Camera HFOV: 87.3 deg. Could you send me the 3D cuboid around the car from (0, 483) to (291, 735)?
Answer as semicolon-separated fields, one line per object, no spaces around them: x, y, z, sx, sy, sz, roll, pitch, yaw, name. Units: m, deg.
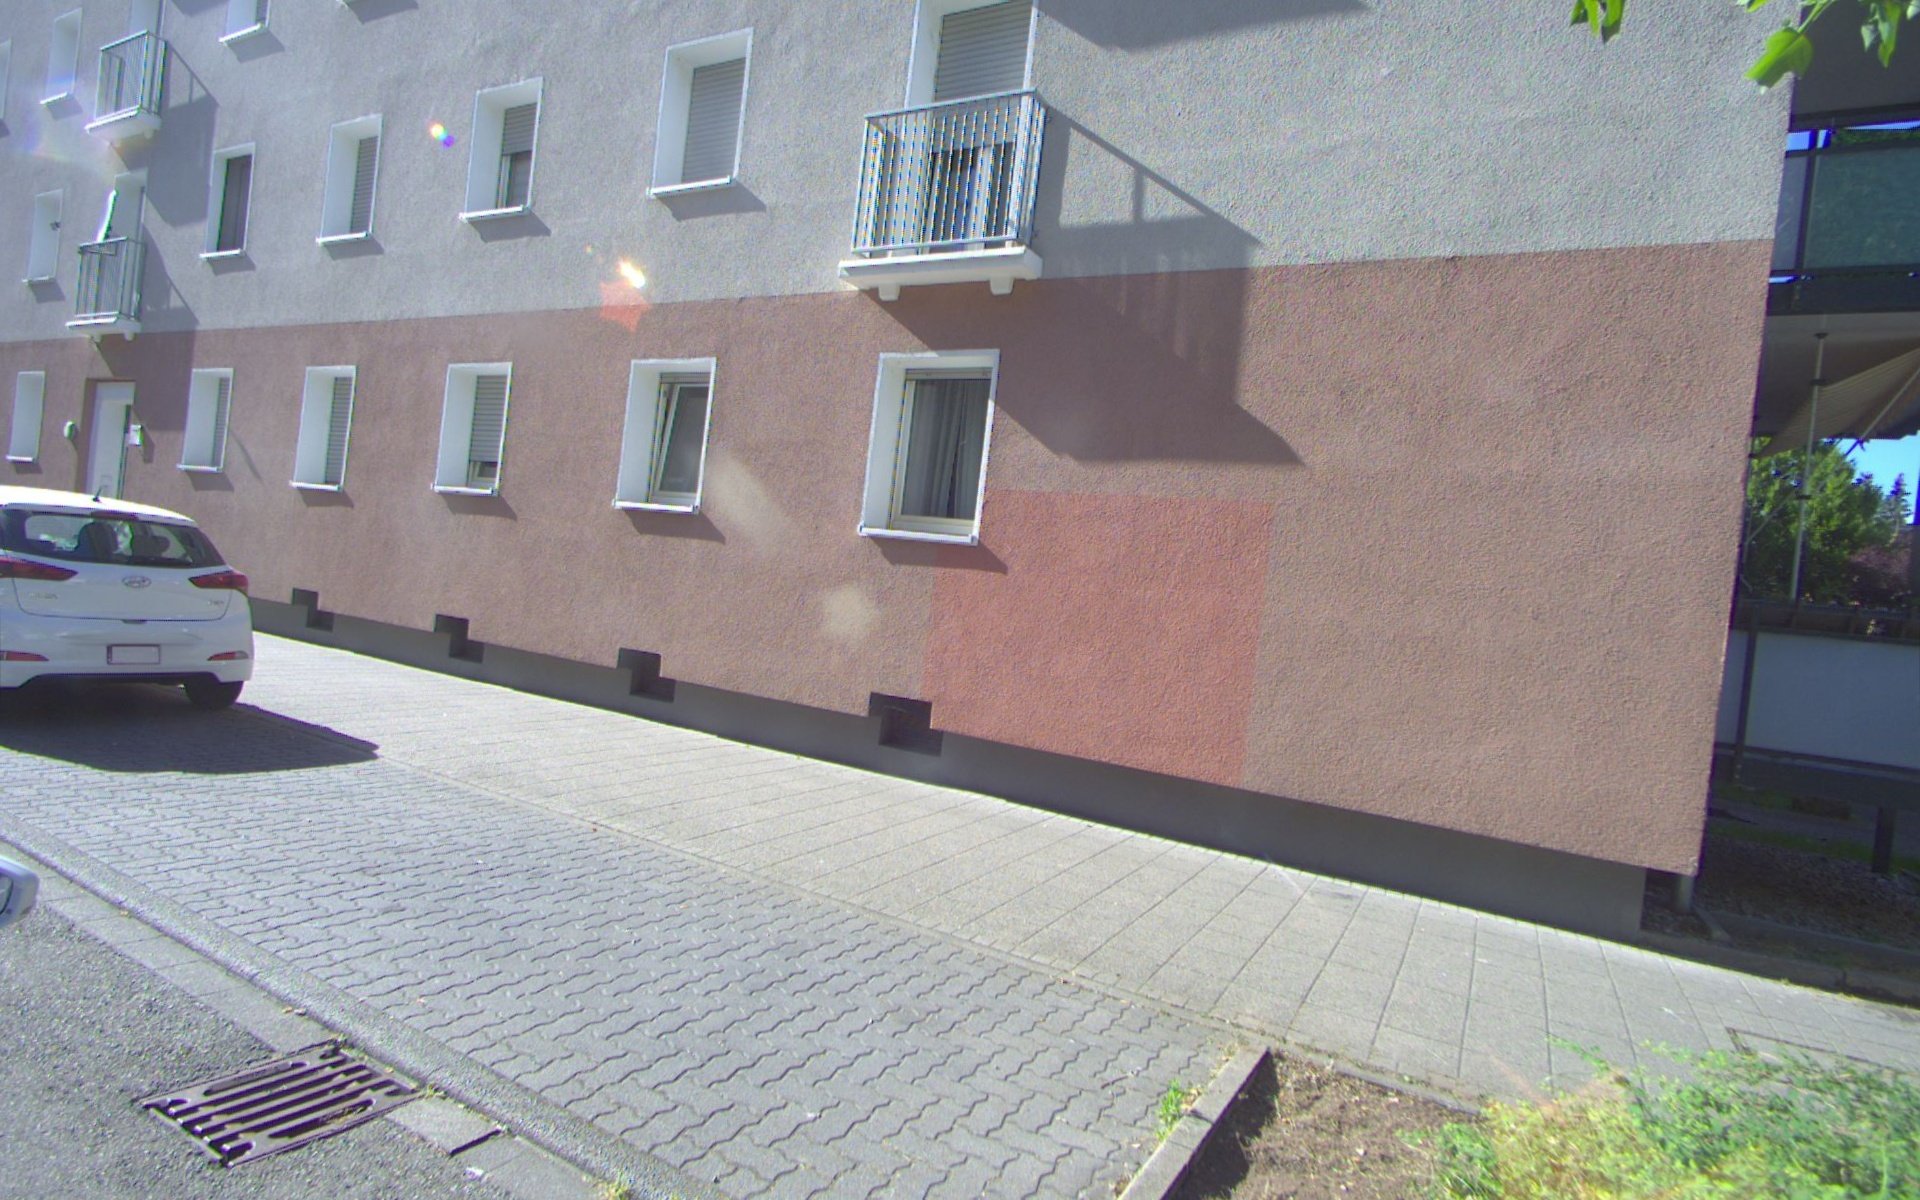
-7.010;-0.101;7.521;3.729;1.505;1.733;7;2;28;car
